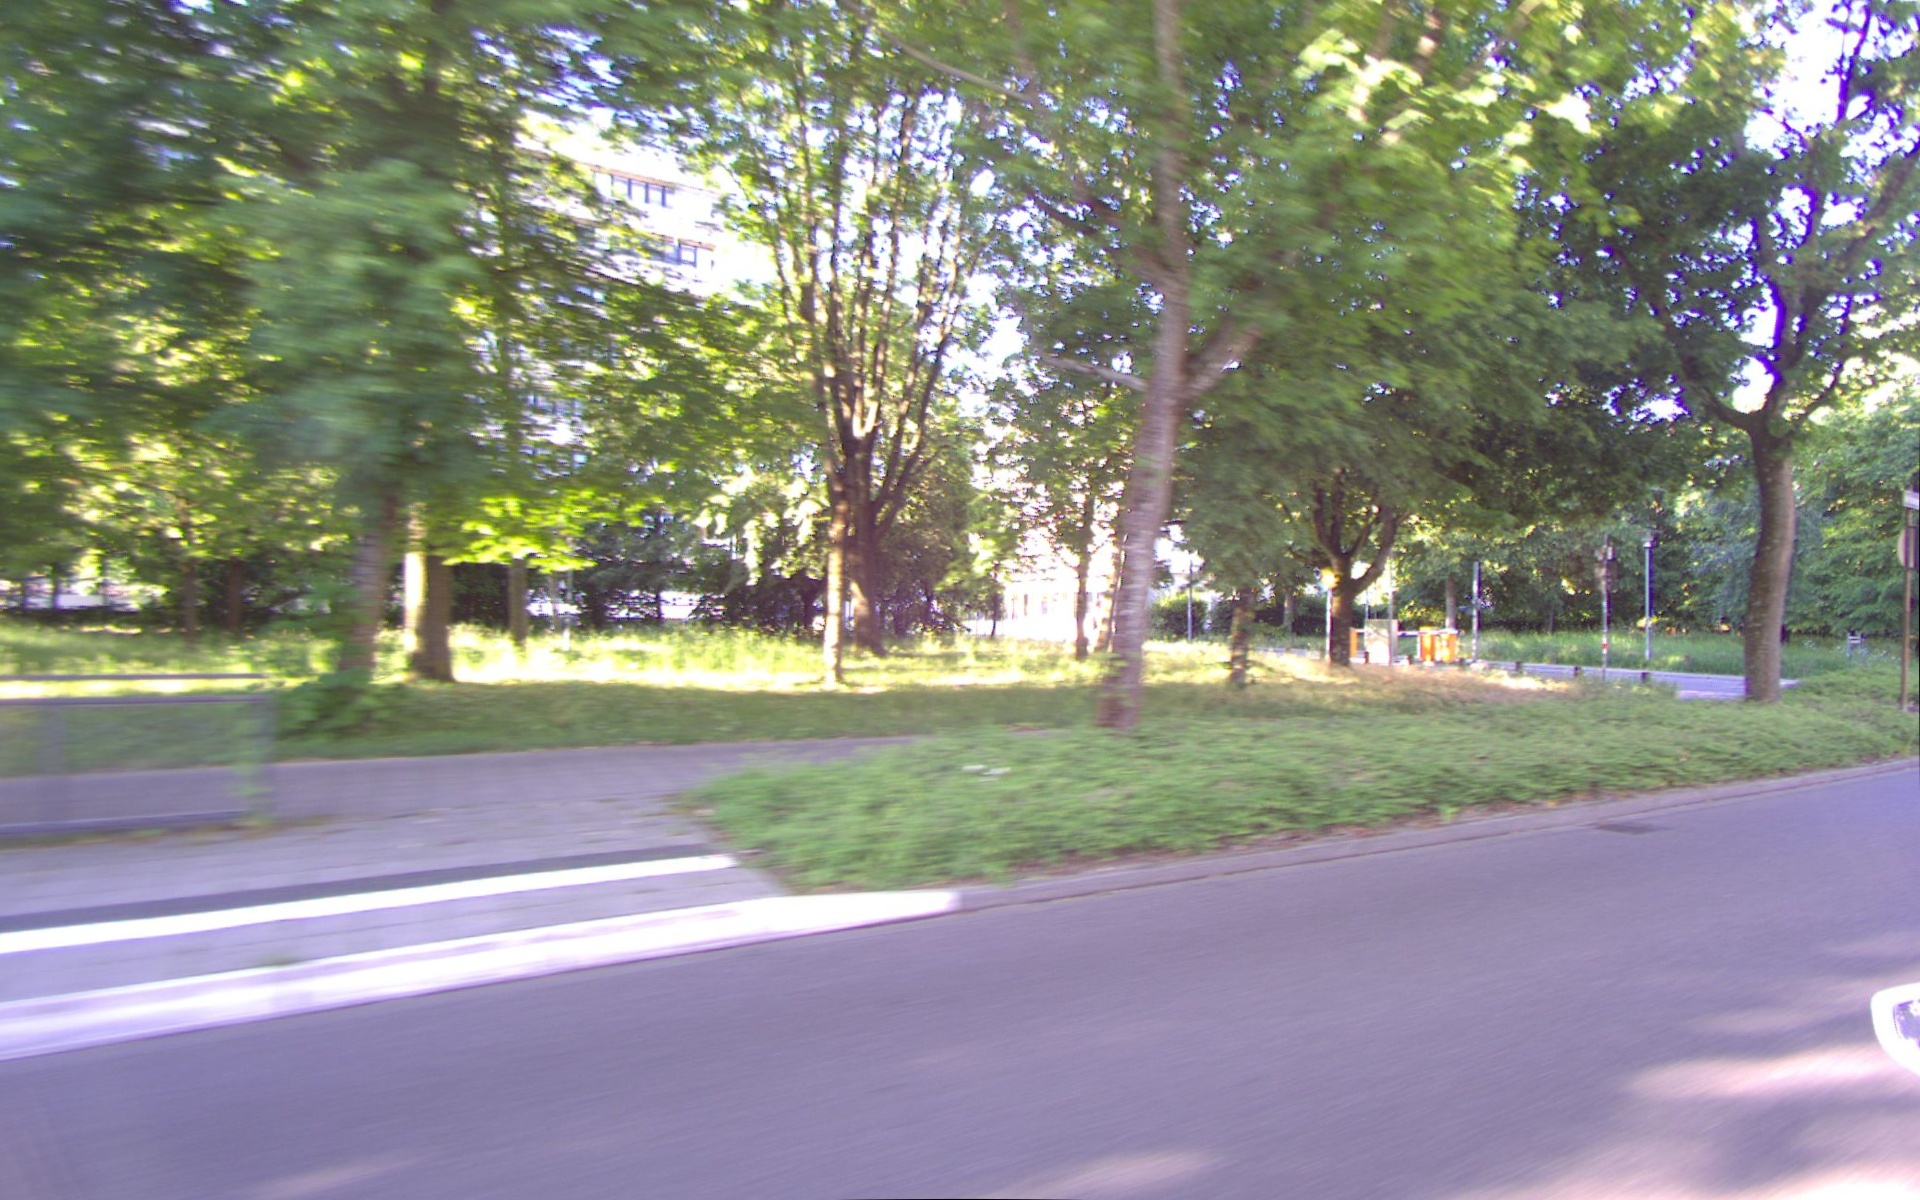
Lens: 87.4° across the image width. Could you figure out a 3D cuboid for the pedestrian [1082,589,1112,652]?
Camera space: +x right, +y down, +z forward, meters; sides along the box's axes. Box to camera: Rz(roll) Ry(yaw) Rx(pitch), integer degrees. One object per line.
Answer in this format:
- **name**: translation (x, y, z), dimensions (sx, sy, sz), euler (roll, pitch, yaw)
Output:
- **pedestrian**: translation (4.430, 0.661, 32.548), dimensions (0.584, 2.040, 0.752), euler (1, 0, -33)
